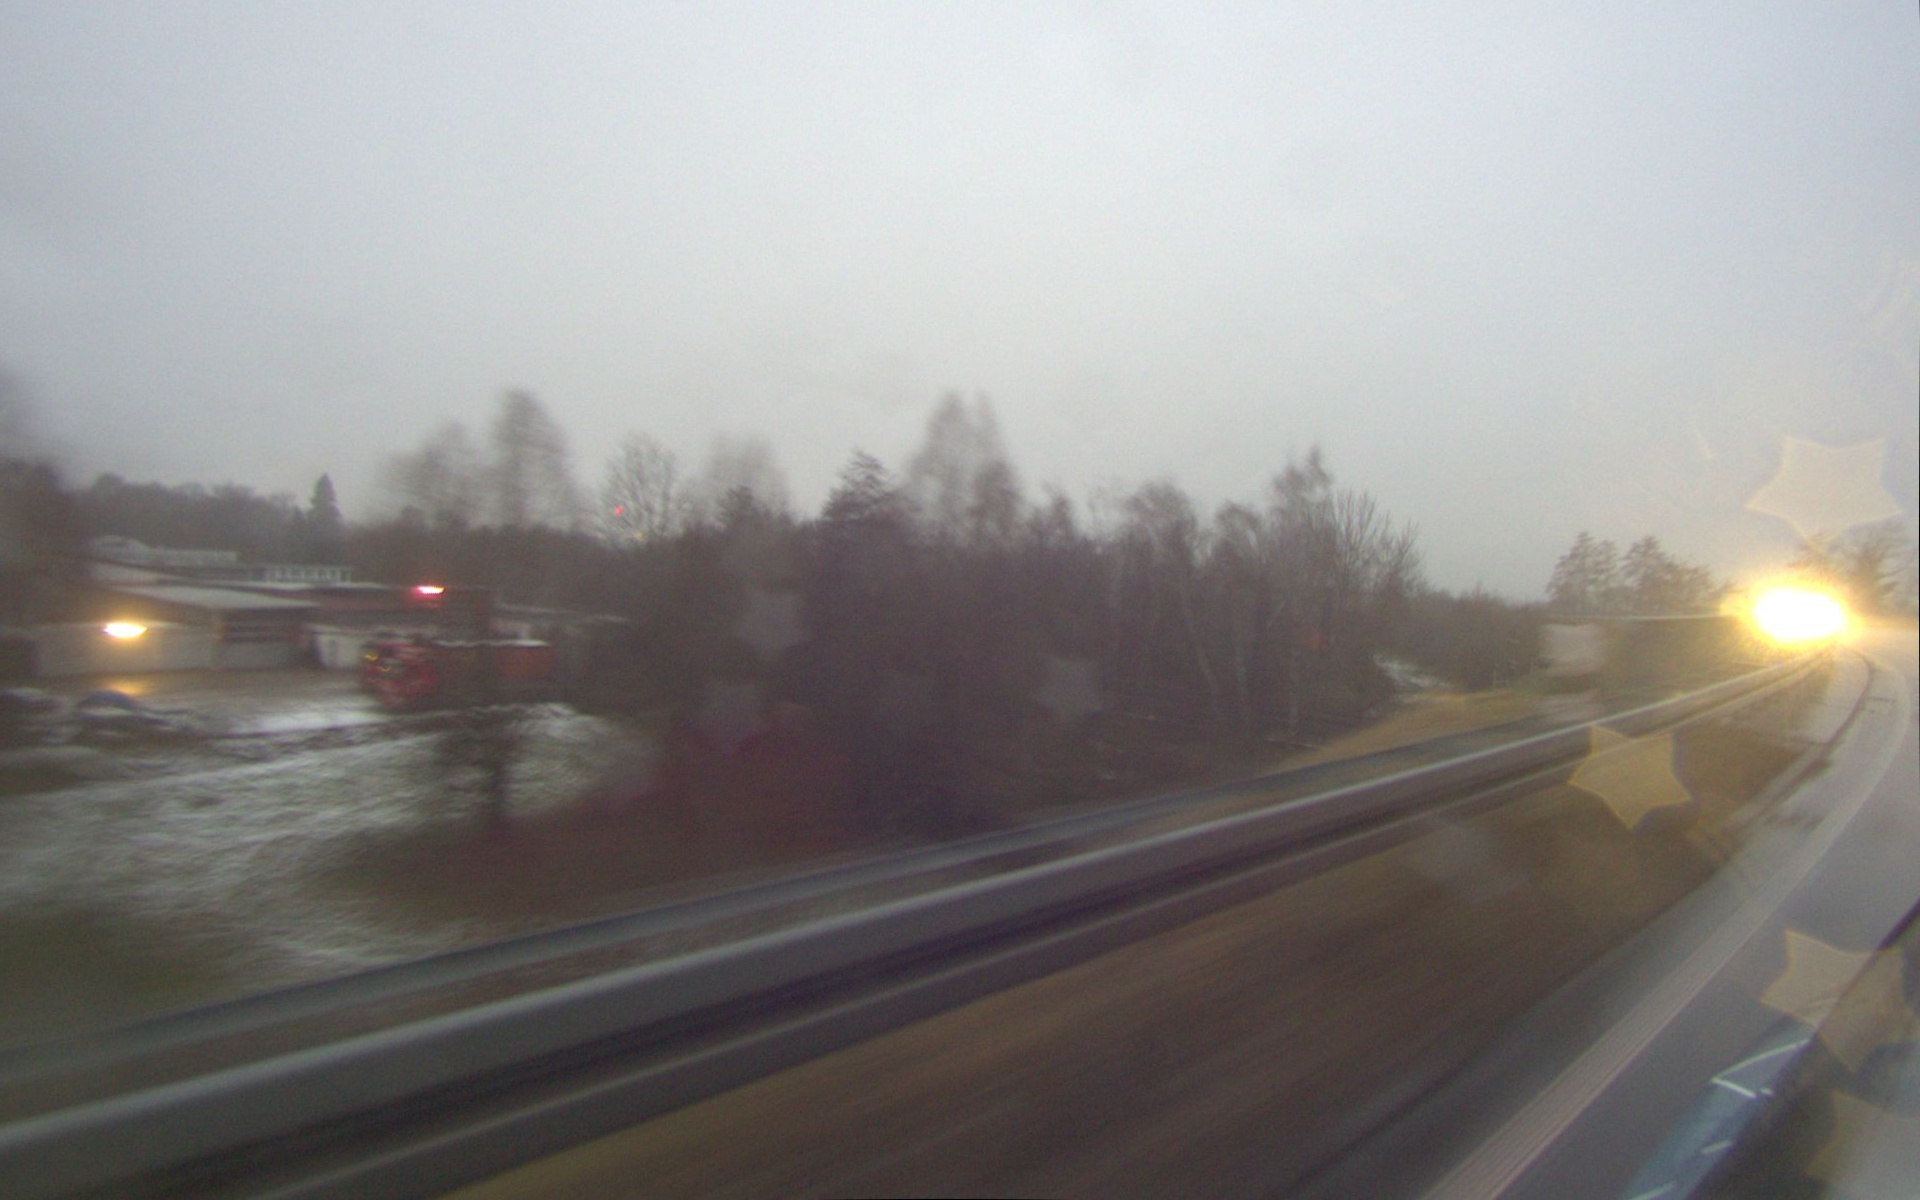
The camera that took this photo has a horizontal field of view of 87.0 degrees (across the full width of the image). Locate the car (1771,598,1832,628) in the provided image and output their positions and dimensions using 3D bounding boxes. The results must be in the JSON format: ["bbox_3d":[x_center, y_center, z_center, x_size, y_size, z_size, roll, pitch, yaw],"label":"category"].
[{"bbox_3d":[49.288,0.733,59.367,2.088,1.594,4.744,4,2,32],"label":"car"}]

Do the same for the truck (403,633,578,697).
[{"bbox_3d":[-29.446,3.979,64.094,2.778,3.273,10.022,0,1,36],"label":"truck"}]

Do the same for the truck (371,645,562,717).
[{"bbox_3d":[-28.684,4.591,59.472,2.778,3.273,10.022,0,1,36],"label":"truck"}]
